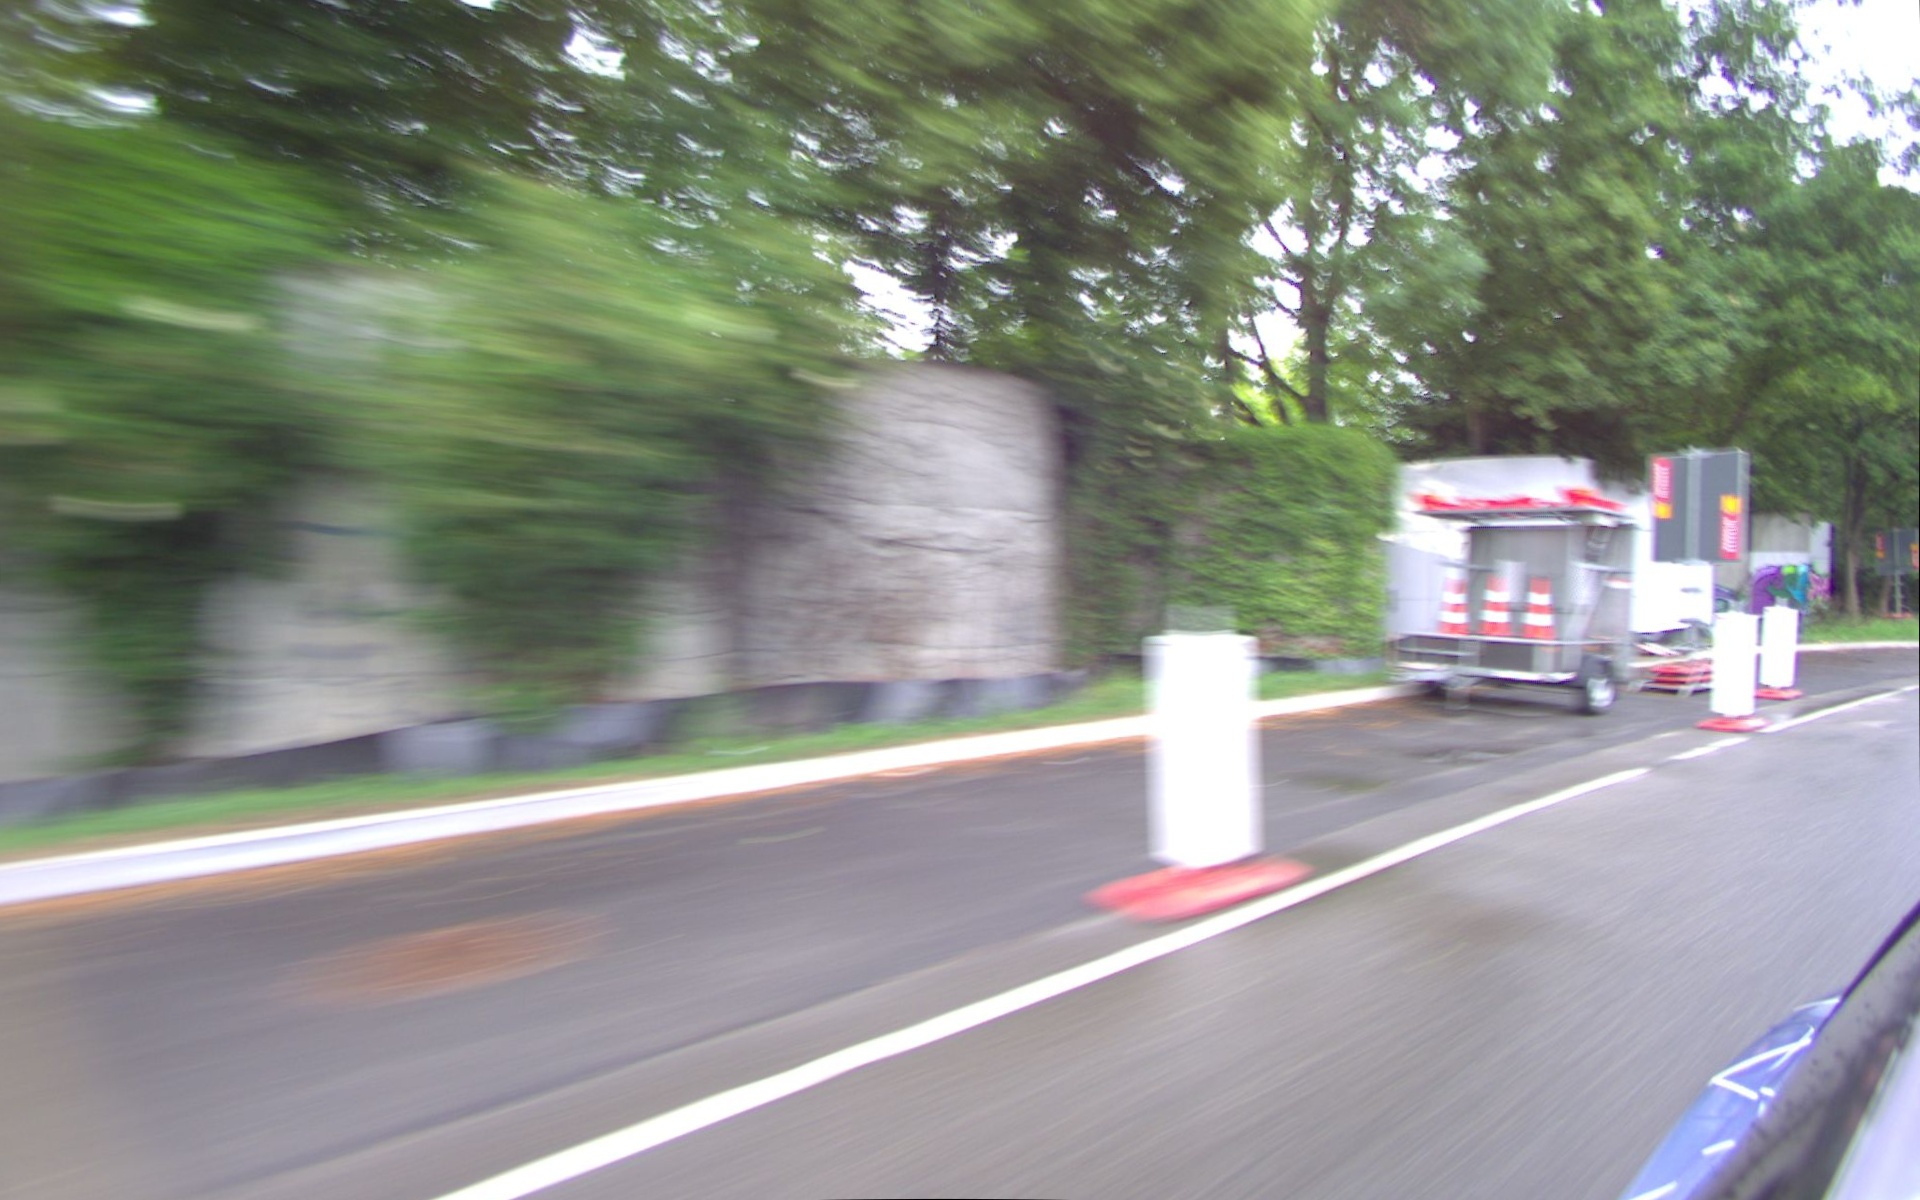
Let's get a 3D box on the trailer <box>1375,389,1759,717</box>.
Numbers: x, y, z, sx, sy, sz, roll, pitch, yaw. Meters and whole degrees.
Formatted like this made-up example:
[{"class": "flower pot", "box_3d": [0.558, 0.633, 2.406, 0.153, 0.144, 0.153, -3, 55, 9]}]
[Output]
[{"class": "trailer", "box_3d": [8.457, -0.609, 13.868, 5.847, 3.633, 2.315, -1, 2, -36]}]
